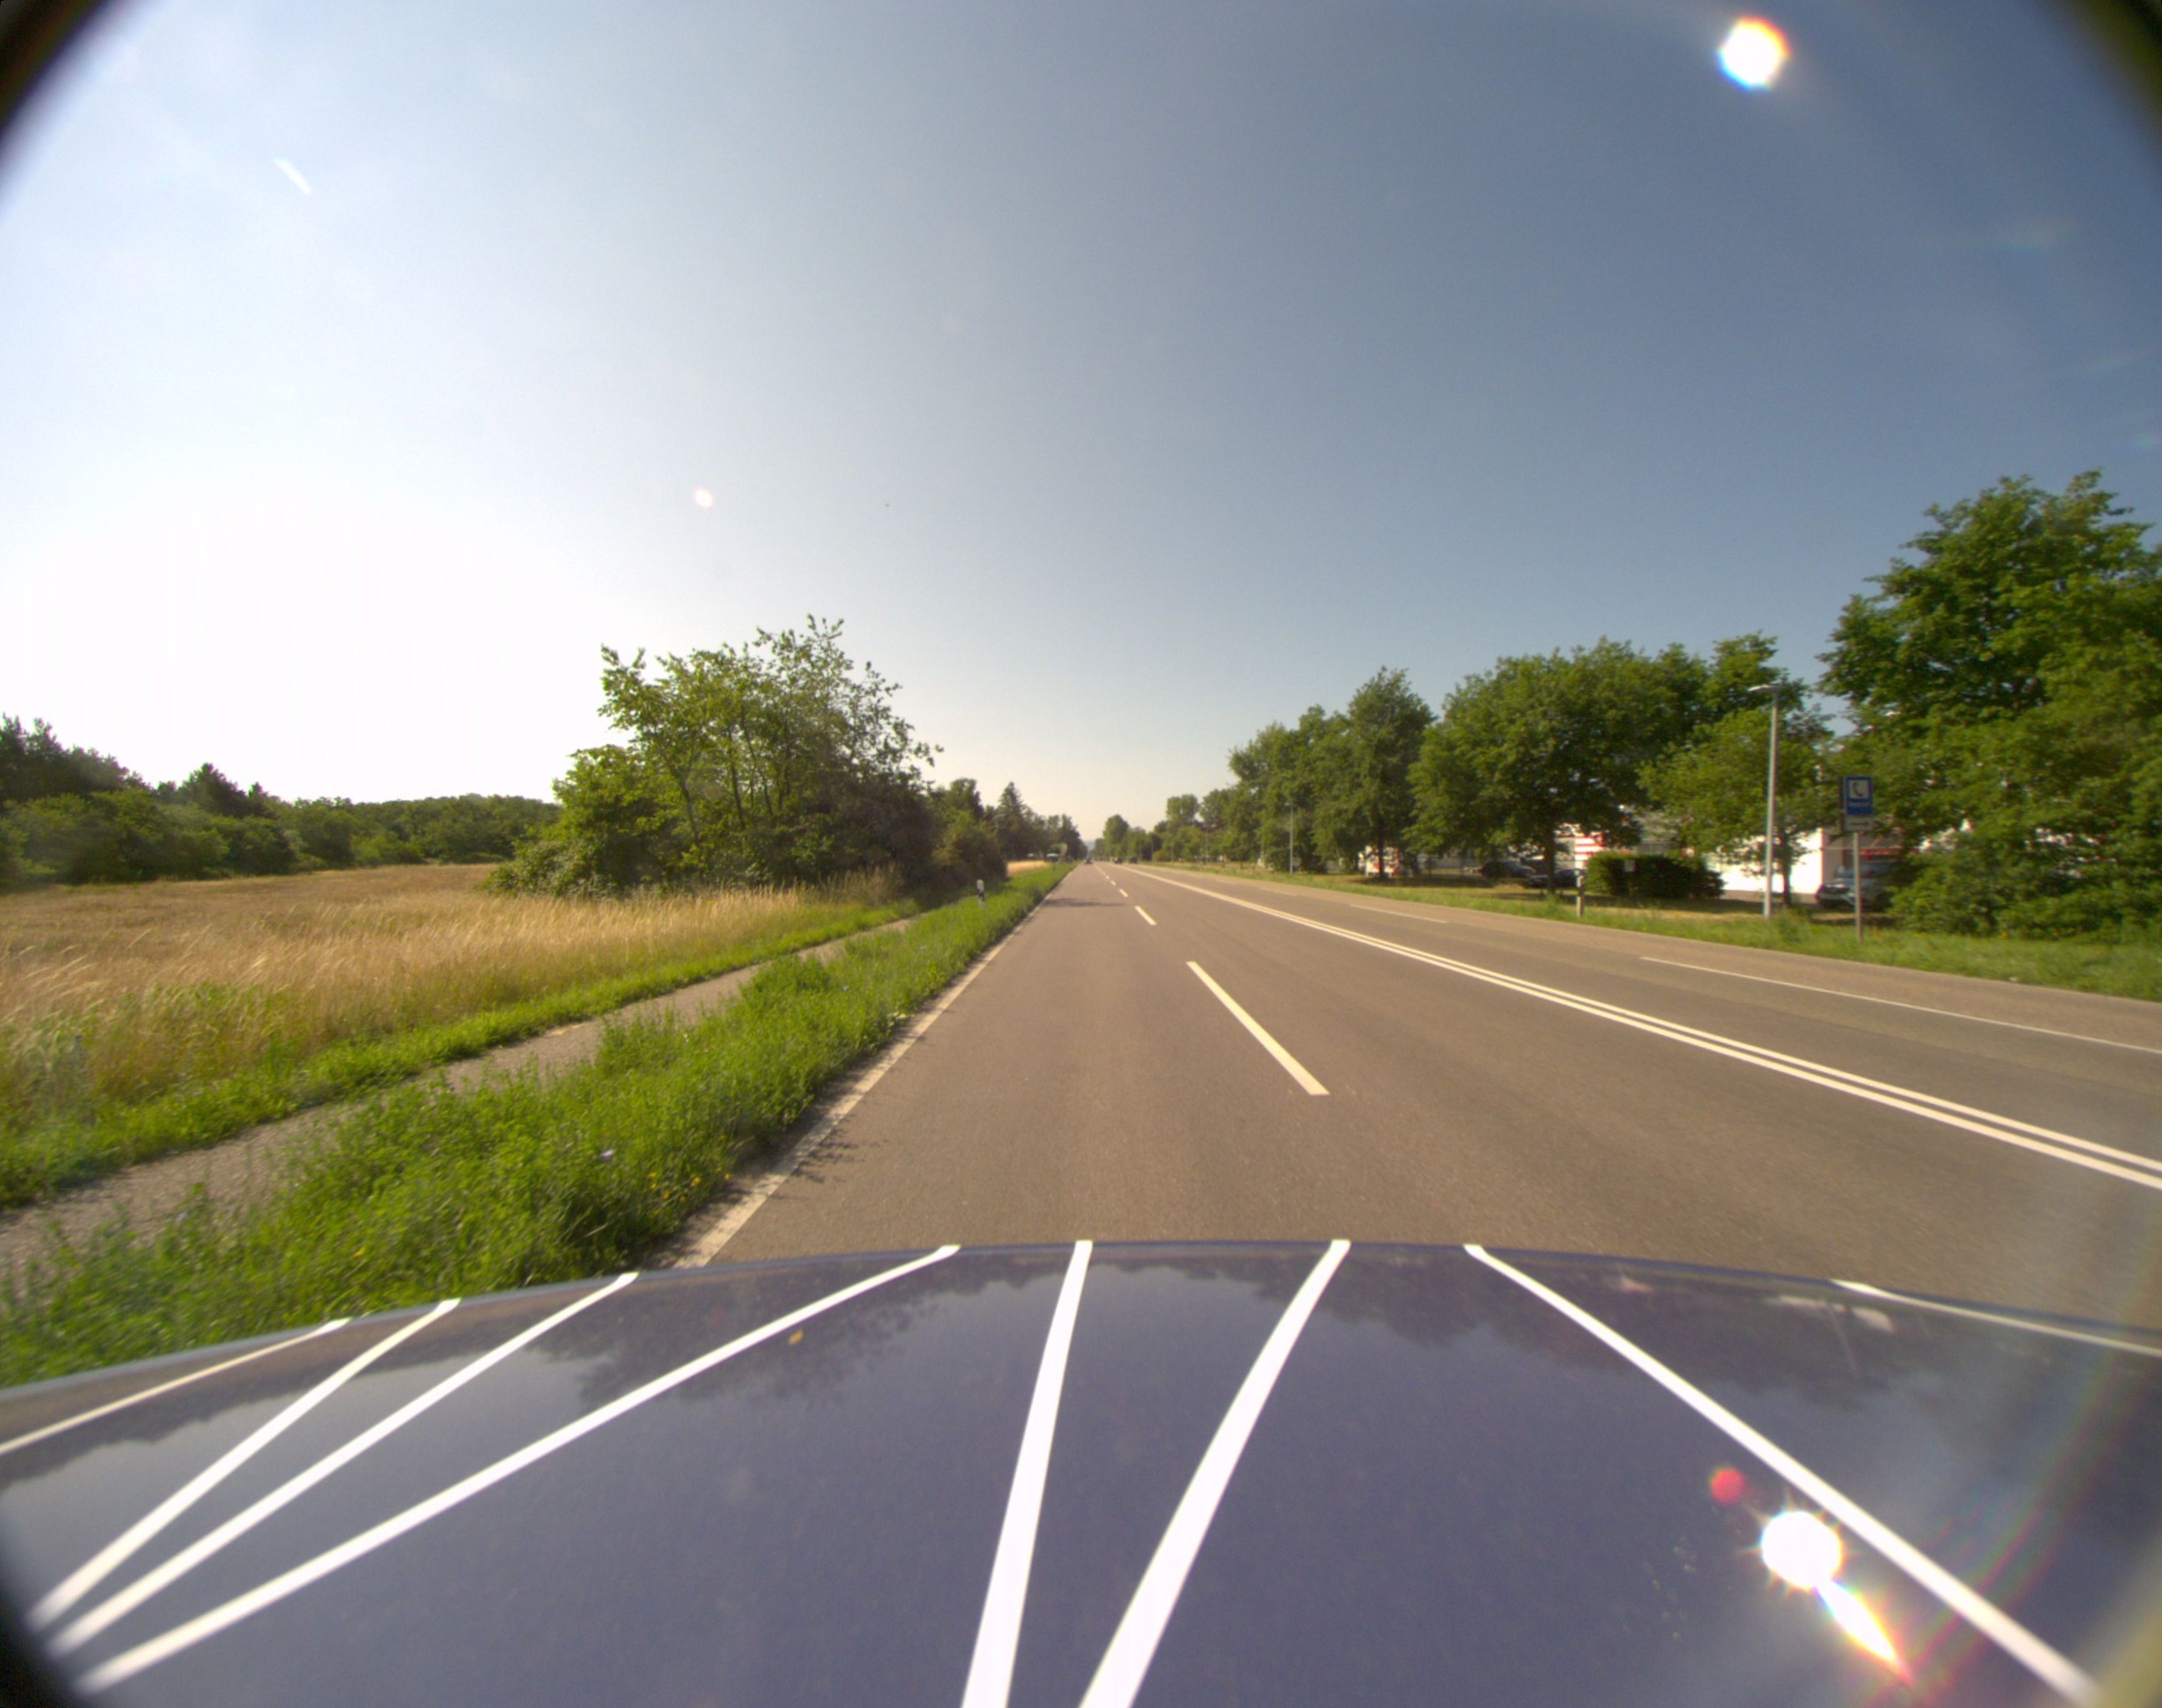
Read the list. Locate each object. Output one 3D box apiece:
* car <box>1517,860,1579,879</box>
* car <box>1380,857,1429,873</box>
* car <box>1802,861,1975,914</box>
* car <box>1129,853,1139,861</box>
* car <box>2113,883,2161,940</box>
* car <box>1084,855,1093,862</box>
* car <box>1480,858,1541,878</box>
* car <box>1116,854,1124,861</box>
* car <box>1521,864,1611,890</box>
[{"bbox_3d":[36.102,1.141,58.872,1.792,1.341,4.662,1,0,-2],"label":"car"},{"bbox_3d":[31.250,1.047,73.521,3.997,1.492,1.757,0,0,0],"label":"car"},{"bbox_3d":[29.787,1.208,28.137,4.233,1.721,2.000,2,1,0],"label":"car"},{"bbox_3d":[11.506,0.585,164.933,1.830,1.662,4.389,2,0,-1],"label":"car"},{"bbox_3d":[26.958,1.408,17.231,1.676,1.342,4.000,0,0,0],"label":"car"},{"bbox_3d":[1.654,1.022,162.190,1.768,1.403,4.001,0,-1,1],"label":"car"},{"bbox_3d":[32.158,1.004,57.053,1.792,1.341,4.662,1,0,-2],"label":"car"},{"bbox_3d":[8.312,0.641,161.448,1.520,1.442,3.775,2,0,0],"label":"car"},{"bbox_3d":[30.120,1.430,47.279,4.361,1.318,1.857,3,1,0],"label":"car"}]
